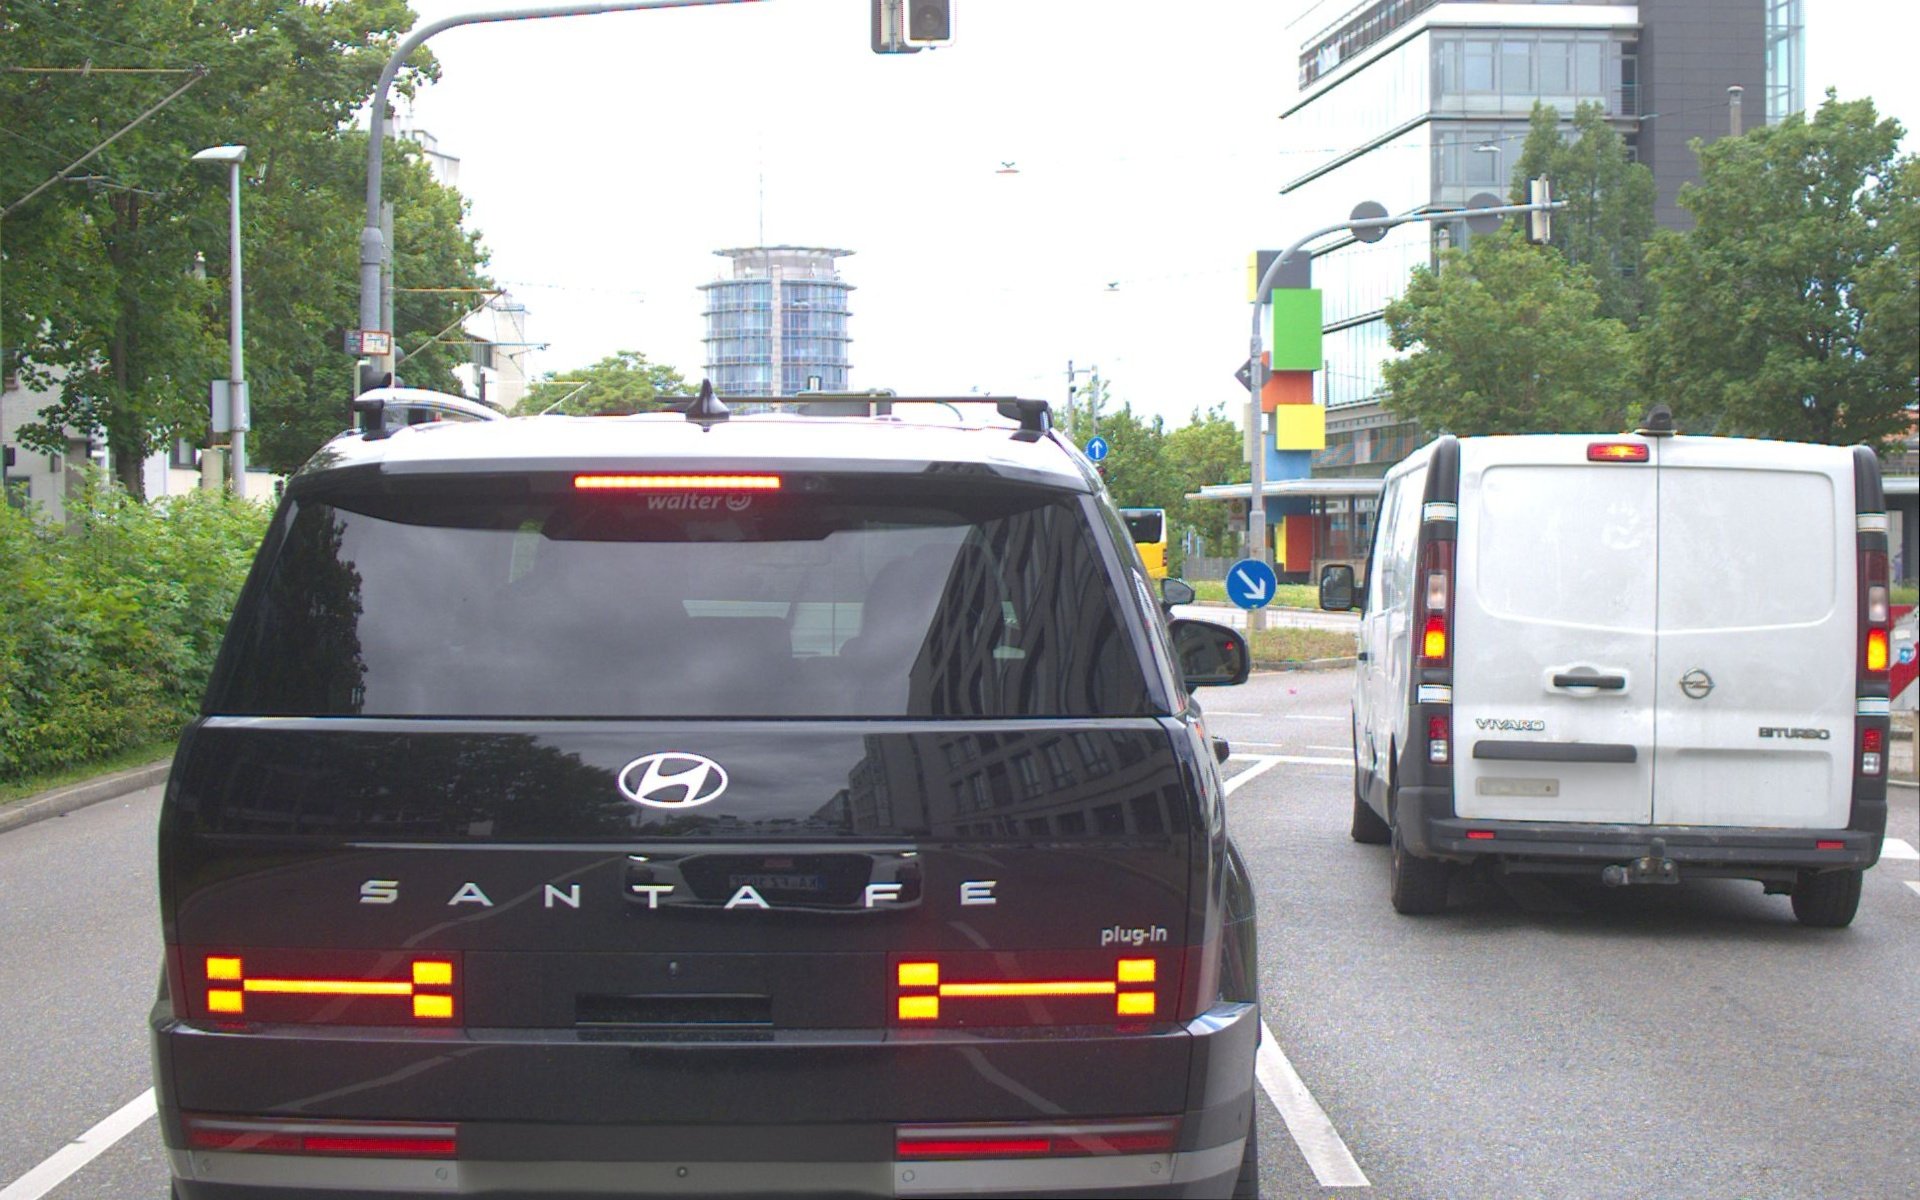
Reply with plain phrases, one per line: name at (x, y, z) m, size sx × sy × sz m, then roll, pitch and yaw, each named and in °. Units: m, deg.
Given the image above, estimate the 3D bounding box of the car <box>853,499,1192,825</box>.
car at (0.472, 0.307, 20.379) m, size 1.776 × 1.711 × 4.338 m, roll 1°, pitch 0°, yaw 4°

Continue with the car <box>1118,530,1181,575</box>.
car at (7.251, -1.831, 132.078) m, size 1.993 × 1.678 × 4.000 m, roll 0°, pitch 0°, yaw -3°

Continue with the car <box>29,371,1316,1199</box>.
car at (-0.434, 0.510, 6.953) m, size 1.869 × 1.754 × 3.880 m, roll 0°, pitch 1°, yaw -1°

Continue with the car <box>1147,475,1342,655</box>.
car at (3.303, -0.411, 40.571) m, size 1.993 × 2.007 × 4.000 m, roll 1°, pitch 0°, yaw 1°

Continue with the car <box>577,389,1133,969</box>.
car at (-0.385, 0.237, 13.819) m, size 1.915 × 1.996 × 3.880 m, roll 0°, pitch 1°, yaw -1°

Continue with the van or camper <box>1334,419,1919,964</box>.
van or camper at (2.749, 0.293, 15.116) m, size 1.994 × 2.007 × 4.652 m, roll 1°, pitch 1°, yaw 4°
